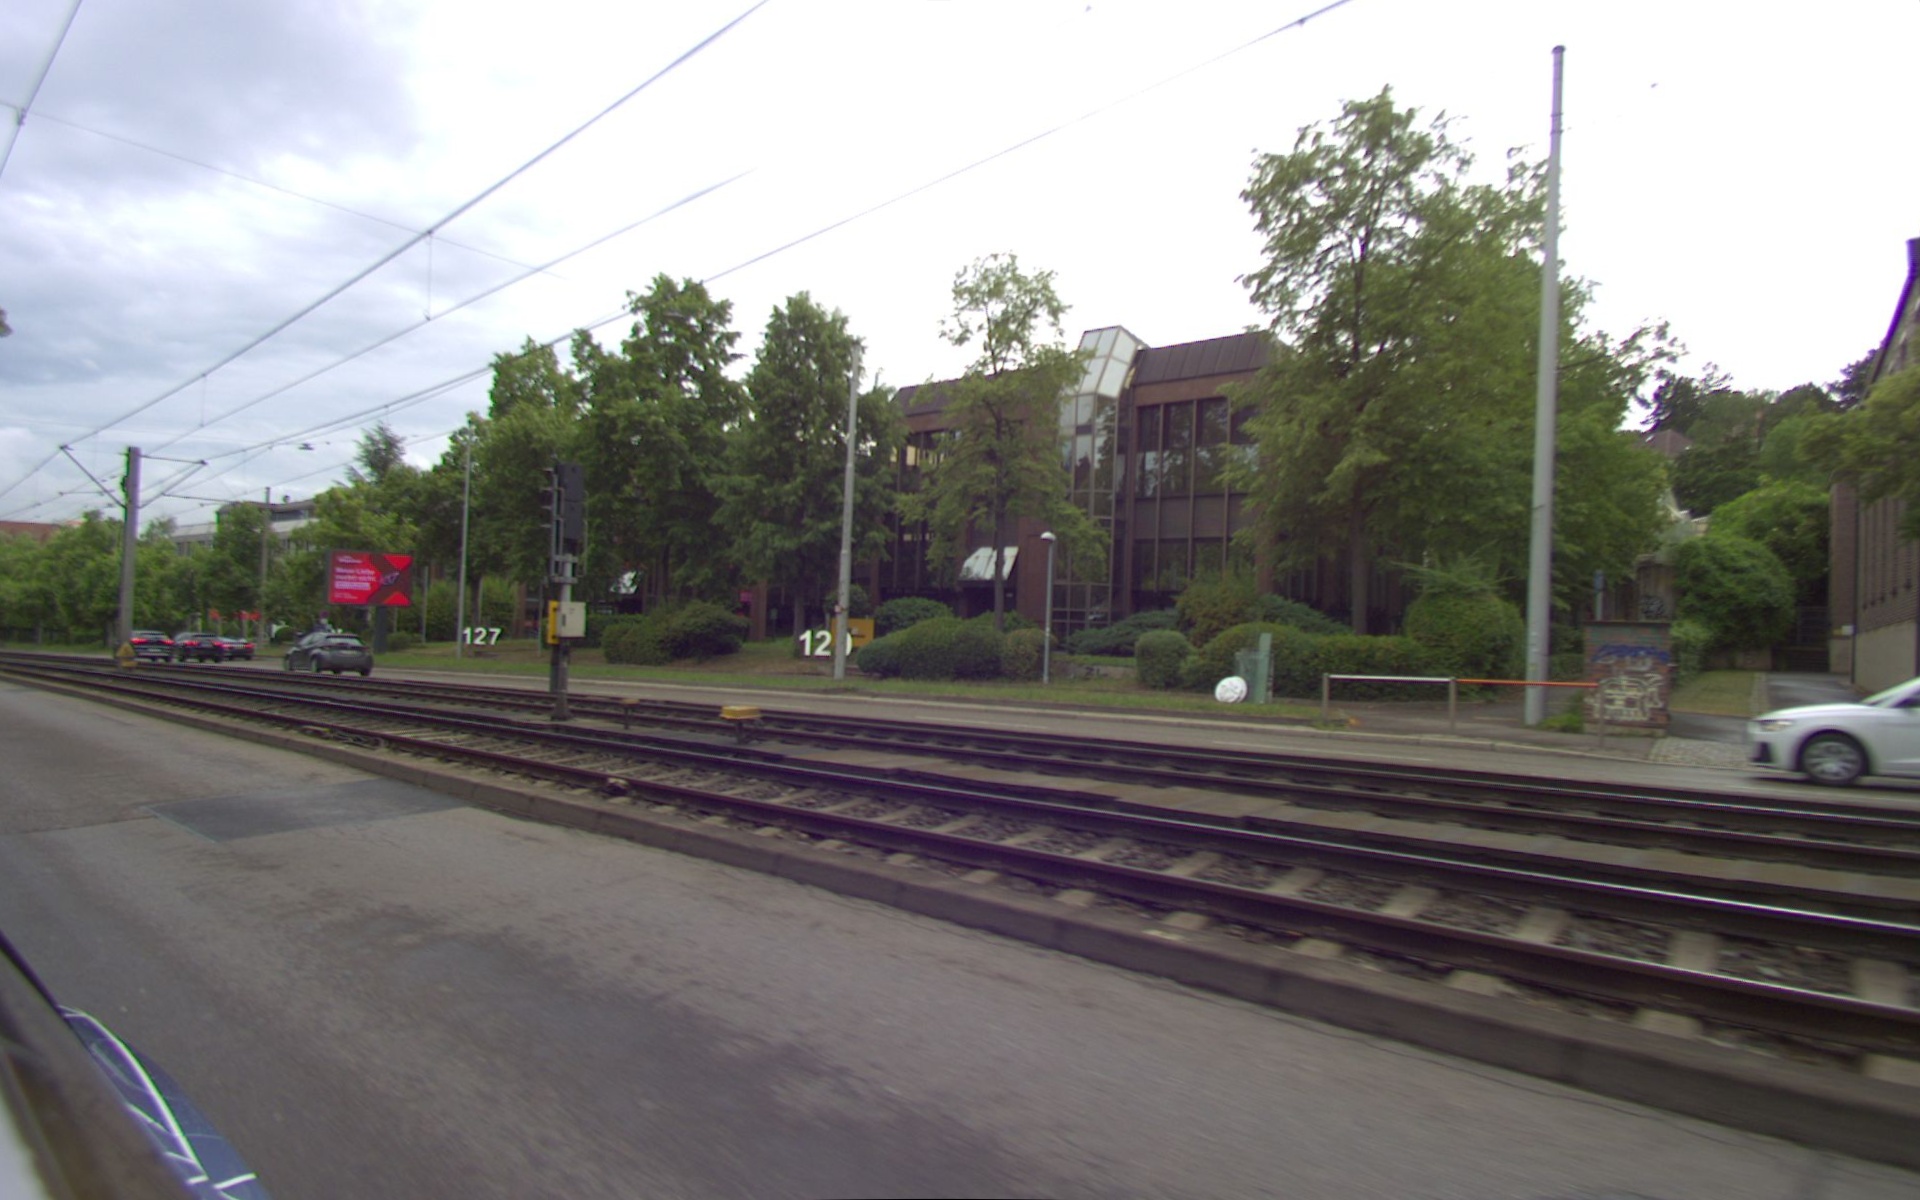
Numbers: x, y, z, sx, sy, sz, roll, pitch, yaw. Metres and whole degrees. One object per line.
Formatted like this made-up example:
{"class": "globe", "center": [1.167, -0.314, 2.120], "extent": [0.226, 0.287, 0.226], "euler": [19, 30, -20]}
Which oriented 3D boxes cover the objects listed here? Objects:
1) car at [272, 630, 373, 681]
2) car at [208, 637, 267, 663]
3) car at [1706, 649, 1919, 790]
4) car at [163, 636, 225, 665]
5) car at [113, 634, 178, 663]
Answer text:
{"class": "car", "center": [-22.218, 1.898, 35.216], "extent": [4.337, 1.650, 1.670], "euler": [-2, -3, 40]}
{"class": "car", "center": [-44.810, 3.083, 62.746], "extent": [4.337, 1.513, 1.933], "euler": [-2, -3, 40]}
{"class": "car", "center": [11.031, 1.313, 11.112], "extent": [4.475, 1.479, 1.670], "euler": [-2, -5, 40]}
{"class": "car", "center": [-42.036, 2.734, 55.479], "extent": [4.337, 1.523, 1.747], "euler": [-2, -3, 40]}
{"class": "car", "center": [-40.987, 2.432, 50.896], "extent": [4.337, 1.404, 1.670], "euler": [-2, -3, 40]}
